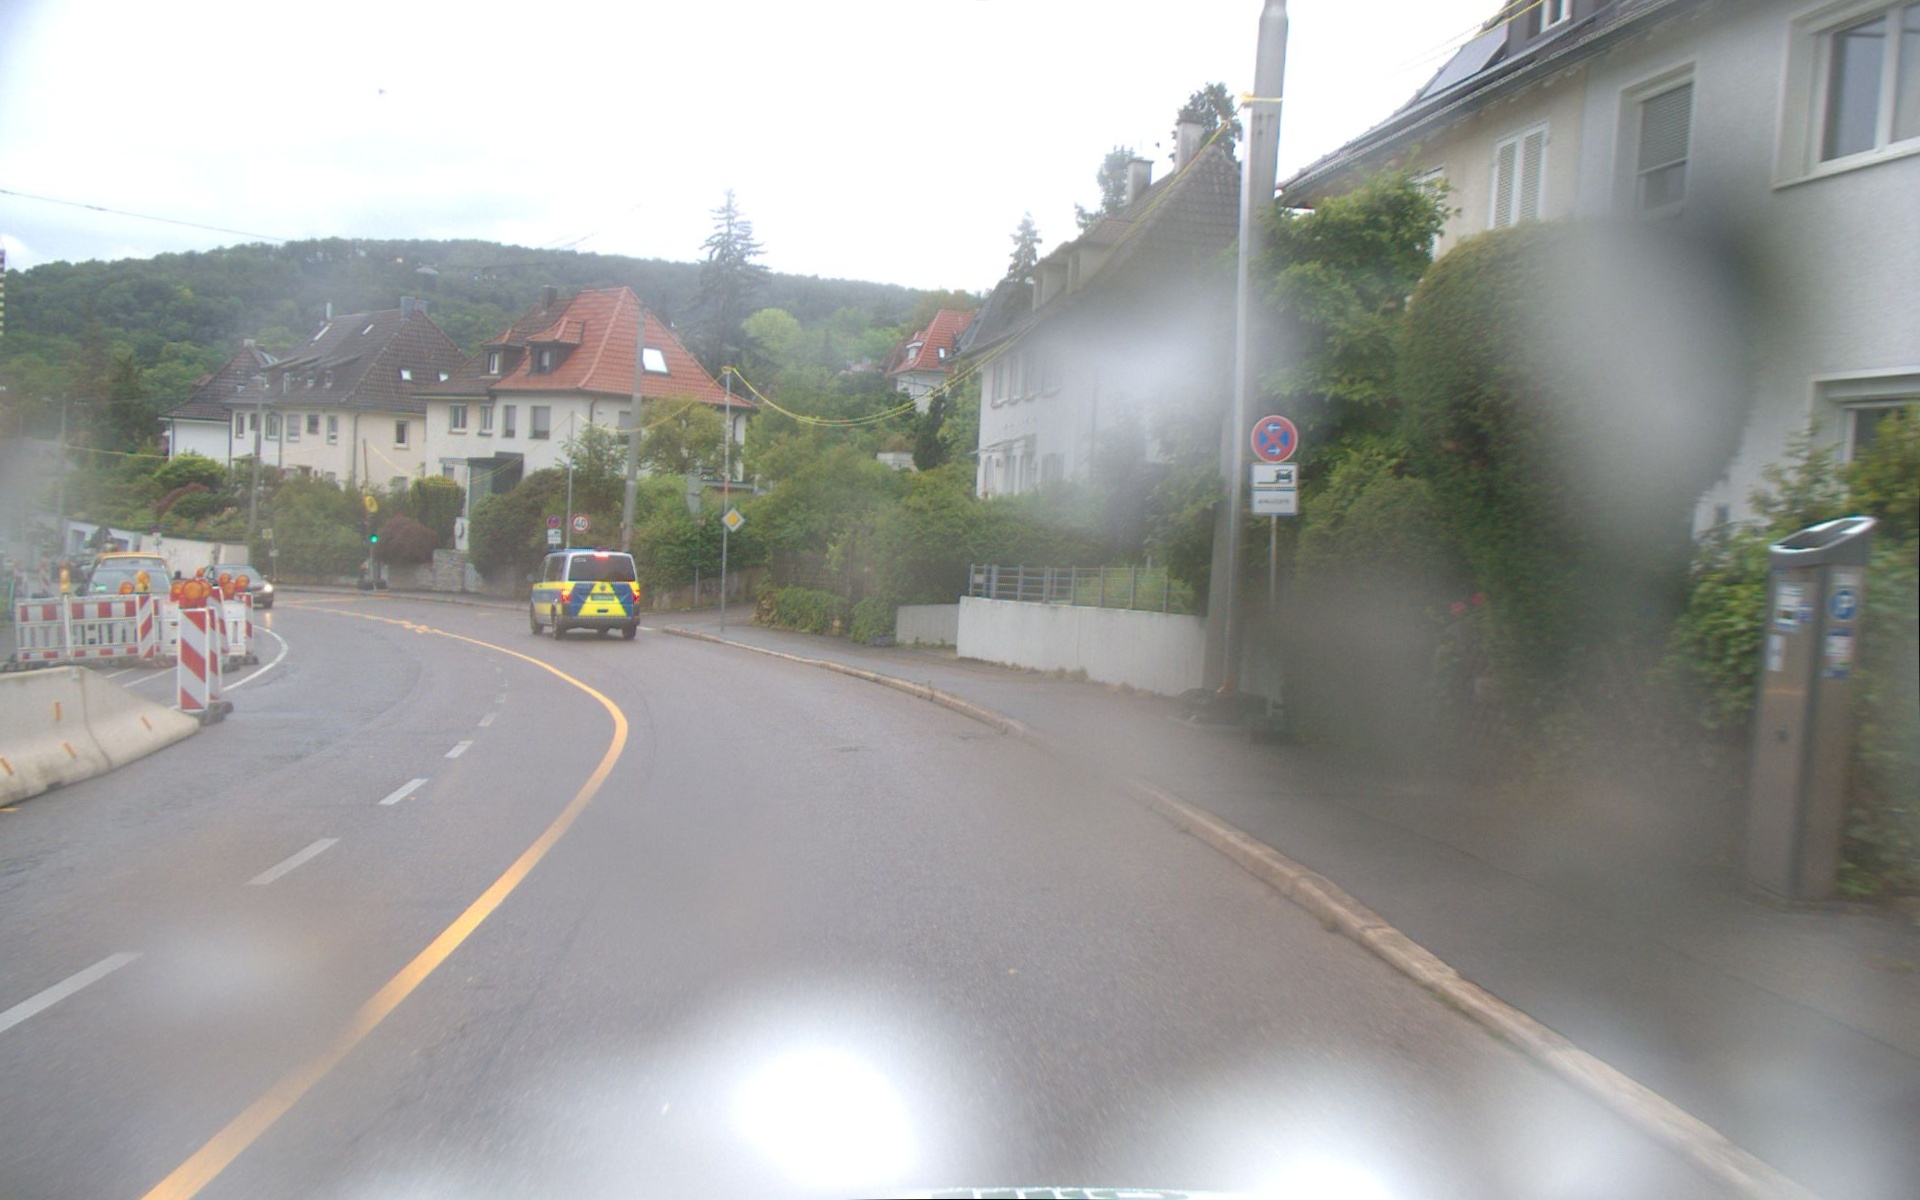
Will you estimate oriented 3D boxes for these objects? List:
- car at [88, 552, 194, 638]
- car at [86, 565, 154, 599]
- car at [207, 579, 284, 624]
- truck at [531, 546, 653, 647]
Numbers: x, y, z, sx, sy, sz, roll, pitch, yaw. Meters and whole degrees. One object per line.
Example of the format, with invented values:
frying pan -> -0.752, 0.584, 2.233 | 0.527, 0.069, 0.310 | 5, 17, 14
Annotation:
car -> -20.919, -0.132, 42.141 | 1.974, 2.049, 5.087 | 1, 0, -31
car -> -42.227, -0.913, 83.115 | 1.985, 1.601, 3.934 | 1, 0, -45
car -> -25.091, 0.041, 58.021 | 1.973, 1.489, 3.959 | 1, 0, -31
truck -> -8.666, -0.143, 38.646 | 1.967, 2.048, 4.702 | 0, 3, -23
